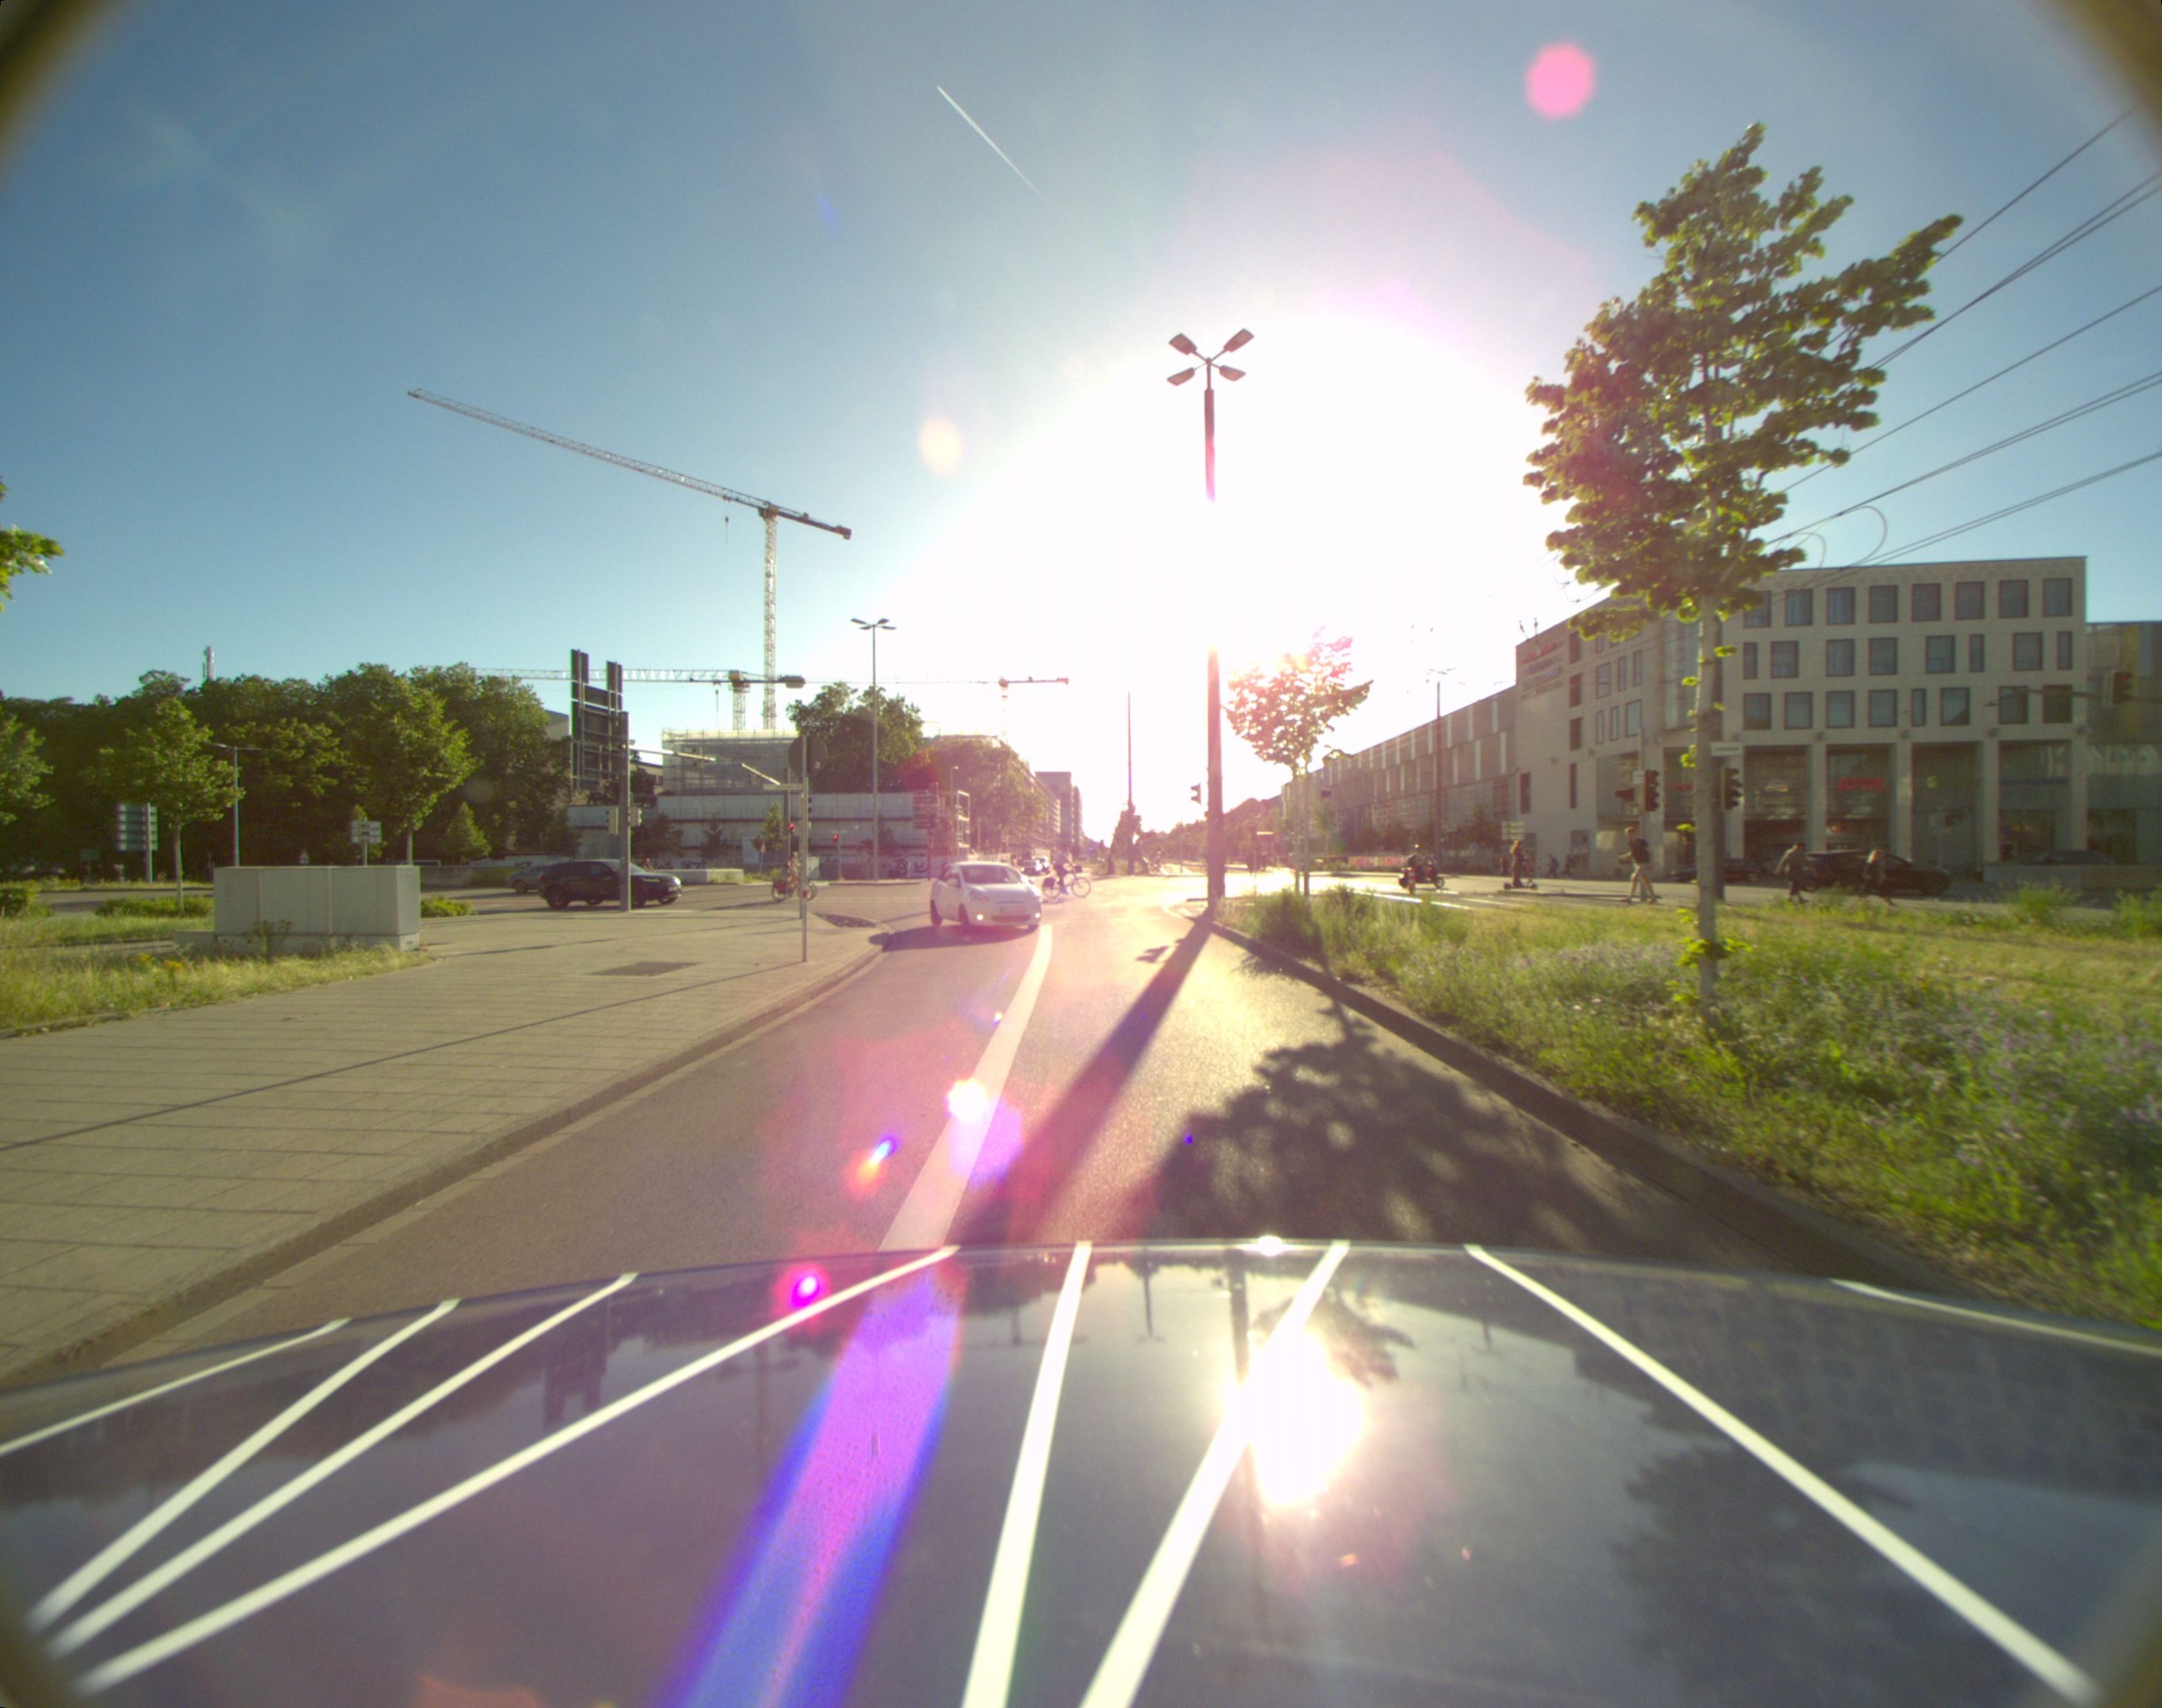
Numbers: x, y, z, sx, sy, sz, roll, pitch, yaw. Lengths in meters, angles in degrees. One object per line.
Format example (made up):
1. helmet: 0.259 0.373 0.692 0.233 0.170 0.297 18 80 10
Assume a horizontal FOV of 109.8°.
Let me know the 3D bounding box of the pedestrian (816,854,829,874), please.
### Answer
1. pedestrian: -21.460 0.812 63.137 0.653 1.671 0.841 0 1 8

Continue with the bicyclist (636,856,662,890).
1. bicyclist: -19.698 0.862 34.663 0.939 1.495 0.623 -1 2 -21

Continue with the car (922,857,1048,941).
1. car: -2.255 0.893 16.932 1.663 1.463 3.960 -2 2 -24

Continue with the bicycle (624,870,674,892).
1. bicycle: -19.685 1.210 34.670 1.912 0.903 0.623 -1 2 -21

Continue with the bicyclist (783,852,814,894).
1. bicyclist: -10.626 0.703 28.625 0.893 1.566 0.626 0 1 8

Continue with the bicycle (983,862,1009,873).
1. bicycle: -7.127 1.126 63.679 2.072 0.922 0.807 -1 1 24

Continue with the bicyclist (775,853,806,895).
1. bicyclist: -10.632 0.722 27.848 0.846 1.534 0.652 0 1 7

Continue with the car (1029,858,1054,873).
1. car: -3.844 1.118 74.471 1.998 1.368 4.001 -1 0 3

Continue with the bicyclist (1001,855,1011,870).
1. bicyclist: -6.549 0.702 66.099 0.805 1.290 0.776 -1 1 -5

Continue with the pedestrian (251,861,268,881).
1. pedestrian: -71.465 1.483 66.099 0.697 1.716 0.665 0 1 7

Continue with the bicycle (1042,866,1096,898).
1. bicycle: -0.423 0.980 26.978 1.797 1.088 0.710 0 1 13

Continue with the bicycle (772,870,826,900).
1. bicycle: -10.634 1.155 28.625 1.813 1.110 0.626 0 1 8

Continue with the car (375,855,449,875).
1. car: -65.943 1.059 75.020 1.996 1.880 5.335 -1 0 13

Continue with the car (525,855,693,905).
1. car: -16.547 0.890 26.762 4.786 1.652 2.001 0 0 6

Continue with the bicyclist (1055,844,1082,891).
1. bicyclist: -0.430 0.473 26.961 0.785 1.659 0.702 0 1 13

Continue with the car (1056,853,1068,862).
1. car: -3.001 0.550 121.096 1.784 1.317 3.999 0 2 2

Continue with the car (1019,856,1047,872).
1. car: -4.276 0.880 68.333 1.998 1.368 4.001 -1 0 3

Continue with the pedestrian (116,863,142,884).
1. pedestrian: -85.388 1.732 68.154 0.963 1.773 0.998 0 2 8

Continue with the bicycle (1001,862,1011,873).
1. bicycle: -6.539 1.149 66.097 0.805 0.922 2.076 -1 1 -4

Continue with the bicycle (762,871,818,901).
1. bicycle: -10.658 1.171 27.843 1.798 1.088 0.652 0 1 8

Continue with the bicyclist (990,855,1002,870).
1. bicyclist: -7.146 0.727 63.689 0.636 1.263 0.807 -1 1 24

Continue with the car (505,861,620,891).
1. car: -24.926 1.064 36.560 4.519 1.344 1.777 0 1 8
